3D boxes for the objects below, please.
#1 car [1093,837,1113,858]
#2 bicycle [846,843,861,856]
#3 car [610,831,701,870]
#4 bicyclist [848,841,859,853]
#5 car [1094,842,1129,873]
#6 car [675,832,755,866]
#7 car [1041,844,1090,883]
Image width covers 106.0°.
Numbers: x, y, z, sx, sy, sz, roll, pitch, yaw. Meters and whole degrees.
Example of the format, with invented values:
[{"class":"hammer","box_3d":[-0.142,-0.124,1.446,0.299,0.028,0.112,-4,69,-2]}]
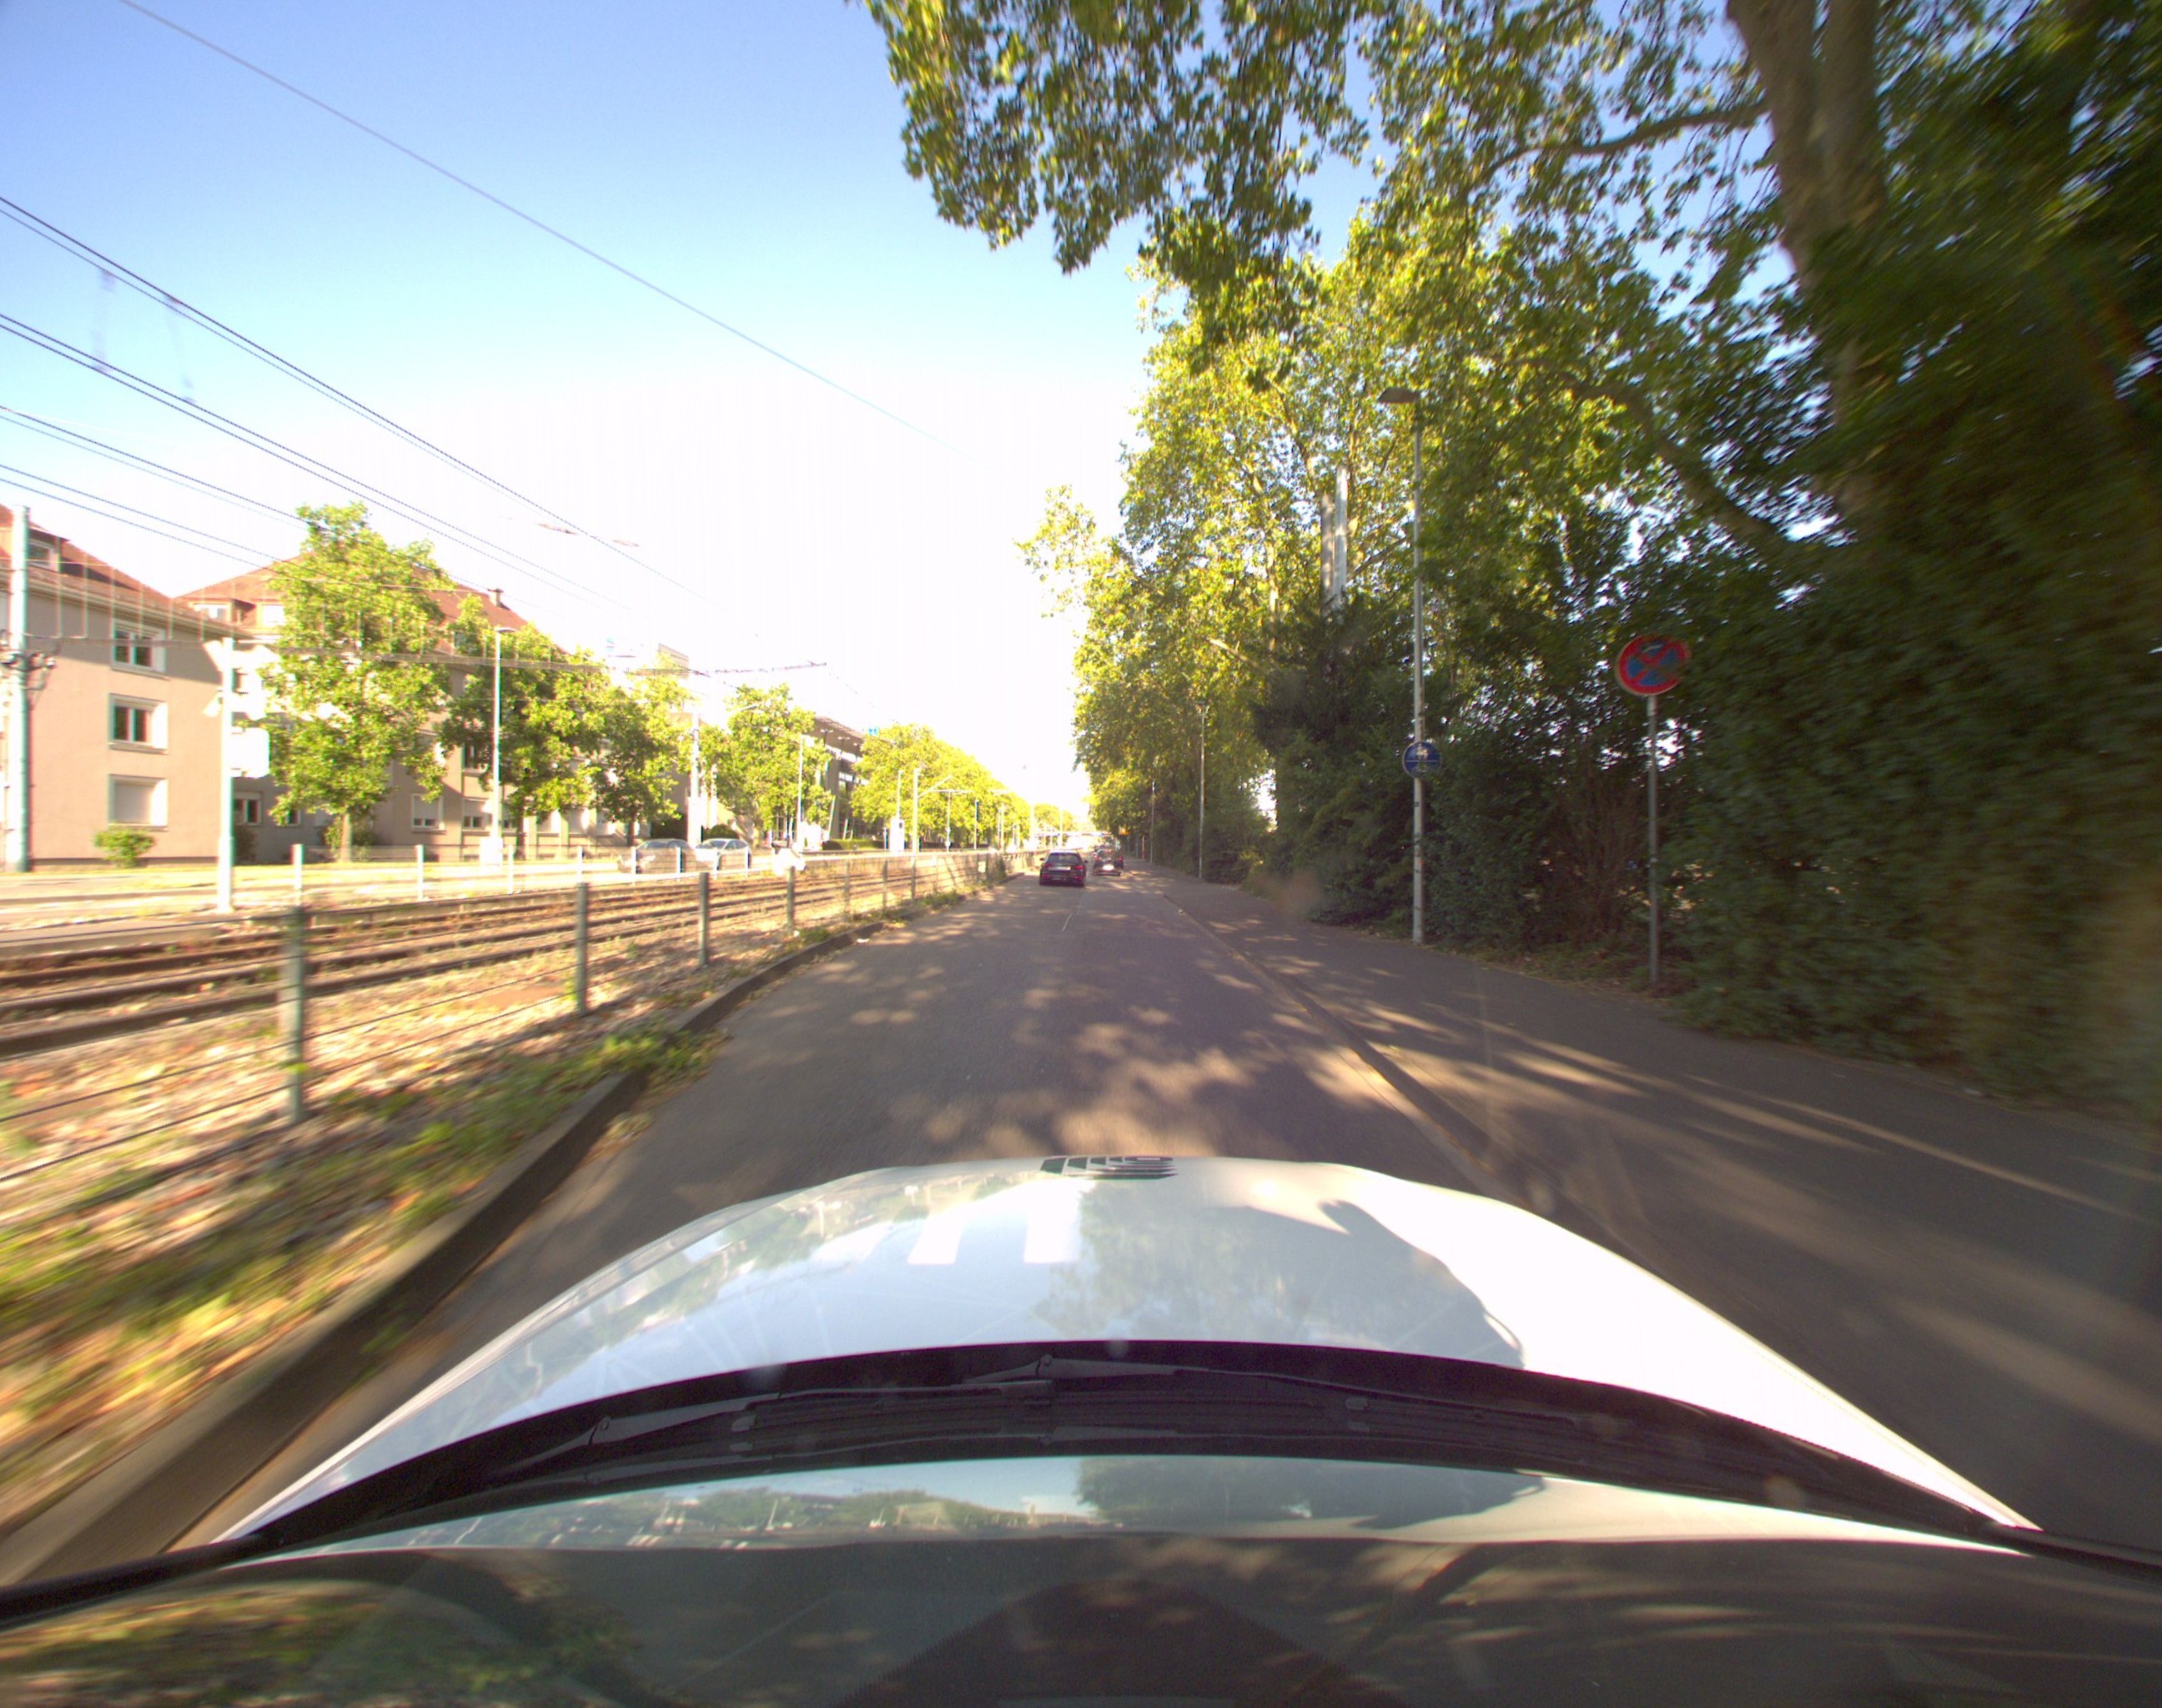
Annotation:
[{"class":"car","box_3d":[2.205,-0.638,81.442,1.986,2.013,4.002,1,1,2]},{"class":"bicycle","box_3d":[-27.365,-0.540,98.041,0.927,1.486,3.177,0,1,0]},{"class":"car","box_3d":[-18.370,-0.175,35.353,1.733,1.547,4.001,2,0,1]},{"class":"bicyclist","box_3d":[-27.326,-0.830,97.914,0.927,1.486,1.272,0,1,0]},{"class":"car","box_3d":[1.666,0.160,45.965,1.757,1.619,3.999,1,1,-1]},{"class":"car","box_3d":[-17.950,-0.241,40.178,1.986,1.530,4.002,2,0,2]},{"class":"car","box_3d":[-0.609,0.364,33.206,1.872,1.457,3.356,1,1,-1]}]
